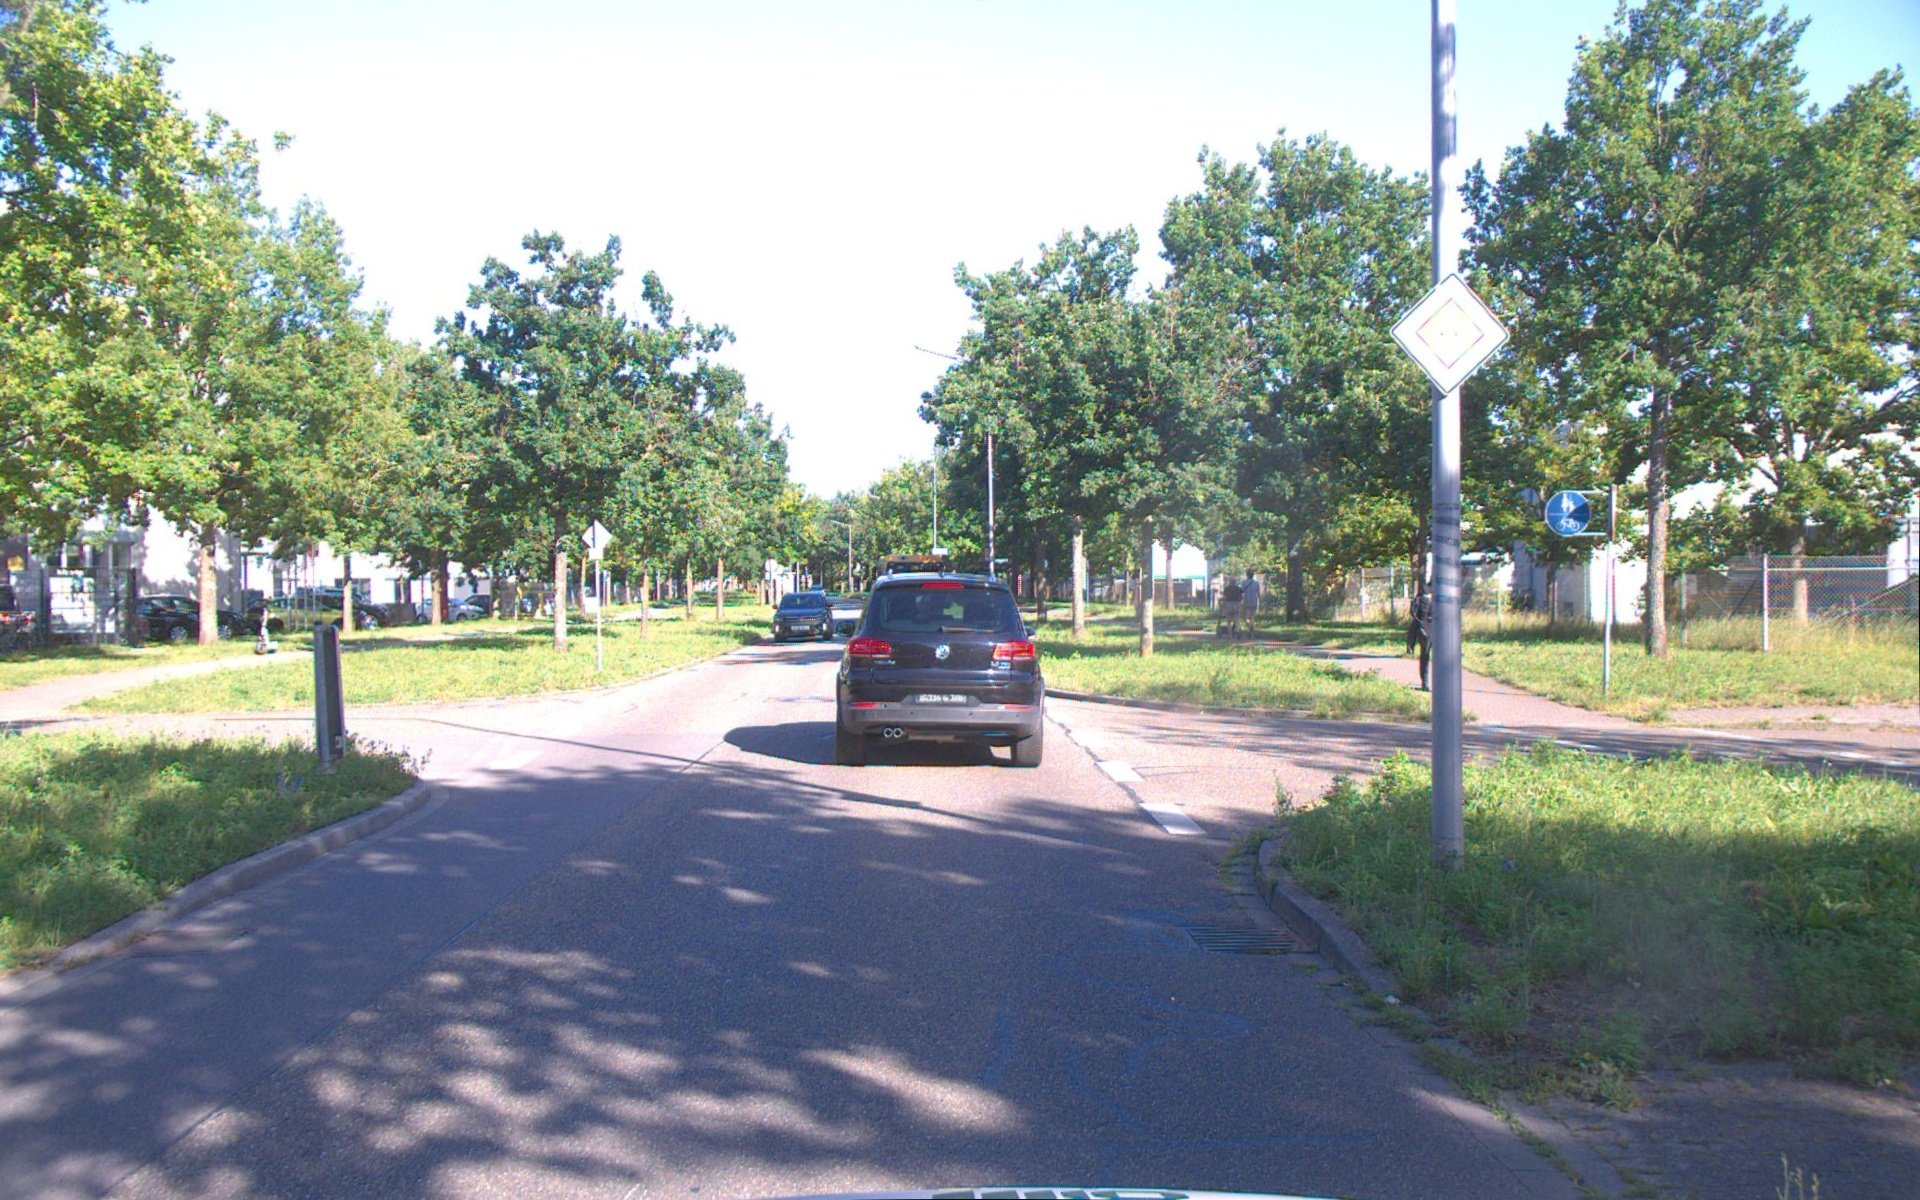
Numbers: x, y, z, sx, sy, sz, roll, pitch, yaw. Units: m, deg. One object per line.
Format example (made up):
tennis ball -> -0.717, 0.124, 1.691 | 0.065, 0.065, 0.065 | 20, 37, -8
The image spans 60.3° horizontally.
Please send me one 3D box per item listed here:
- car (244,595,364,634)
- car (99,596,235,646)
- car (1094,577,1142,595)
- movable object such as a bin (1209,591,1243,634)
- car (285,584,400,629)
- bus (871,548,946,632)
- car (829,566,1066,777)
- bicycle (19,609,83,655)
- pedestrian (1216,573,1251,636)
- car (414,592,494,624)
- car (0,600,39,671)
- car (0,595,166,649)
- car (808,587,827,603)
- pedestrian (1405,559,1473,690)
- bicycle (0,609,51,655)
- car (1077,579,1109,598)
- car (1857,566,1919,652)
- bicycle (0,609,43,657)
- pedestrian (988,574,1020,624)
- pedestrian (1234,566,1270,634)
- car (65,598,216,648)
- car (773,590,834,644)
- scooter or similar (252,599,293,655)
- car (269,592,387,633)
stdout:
car -> -25.631, 0.542, 64.688 | 3.924, 1.426, 1.968 | -1, 1, -44
car -> -26.523, 0.680, 55.352 | 3.948, 1.537, 1.782 | -1, 2, -32
car -> 16.484, -1.442, 172.701 | 4.543, 1.774, 2.186 | -1, 1, -11
movable object such as a bin -> 7.127, 0.337, 44.328 | 0.711, 1.100, 0.867 | -2, 0, -3
car -> -29.522, 0.295, 79.161 | 4.822, 2.049, 1.967 | -1, 1, -44
bus -> -2.498, -0.485, 75.983 | 2.711, 3.517, 11.198 | -1, 1, -5
car -> -0.189, 0.549, 15.592 | 1.897, 1.685, 4.425 | 1, 1, -2
bicycle -> -22.814, 0.792, 41.559 | 0.626, 1.106, 1.890 | -1, 0, -3
pedestrian -> 7.182, 0.125, 43.454 | 0.711, 1.631, 0.867 | -1, 0, -3
car -> -27.655, 0.437, 90.412 | 3.662, 1.646, 1.965 | -1, 0, 12
car -> -27.006, 0.901, 44.010 | 3.931, 1.814, 2.027 | 1, 1, 8
car -> -25.838, 0.614, 48.804 | 1.768, 1.474, 3.979 | -1, 1, 40
car -> -14.160, -0.497, 164.802 | 1.709, 1.490, 4.424 | -1, 1, -3
pedestrian -> 6.946, 0.339, 24.017 | 0.711, 1.843, 0.867 | -1, 3, -3
bicycle -> -23.801, 0.797, 41.820 | 0.626, 1.106, 1.890 | -1, 0, -3
car -> 12.726, -1.122, 158.831 | 2.143, 1.774, 4.634 | -1, 1, -7
car -> 19.778, 0.157, 32.772 | 1.965, 1.693, 3.595 | -1, 0, -2
bicycle -> -23.063, 0.799, 40.139 | 0.626, 1.106, 1.890 | -1, 0, -3
pedestrian -> 1.513, -0.035, 57.087 | 0.999, 1.680, 1.099 | -1, 0, -3
pedestrian -> 7.821, 0.002, 44.358 | 0.711, 1.785, 0.867 | -3, 0, -2
car -> -25.951, 0.696, 52.445 | 1.771, 1.474, 3.972 | 0, 1, 44
car -> -4.990, 0.511, 53.253 | 1.769, 1.563, 4.492 | -2, 1, -4
scooter or similar -> -16.483, 0.626, 39.662 | 0.387, 1.301, 1.441 | -1, 0, -1
car -> -25.912, 0.478, 67.882 | 4.138, 1.565, 1.866 | -1, 1, -44
